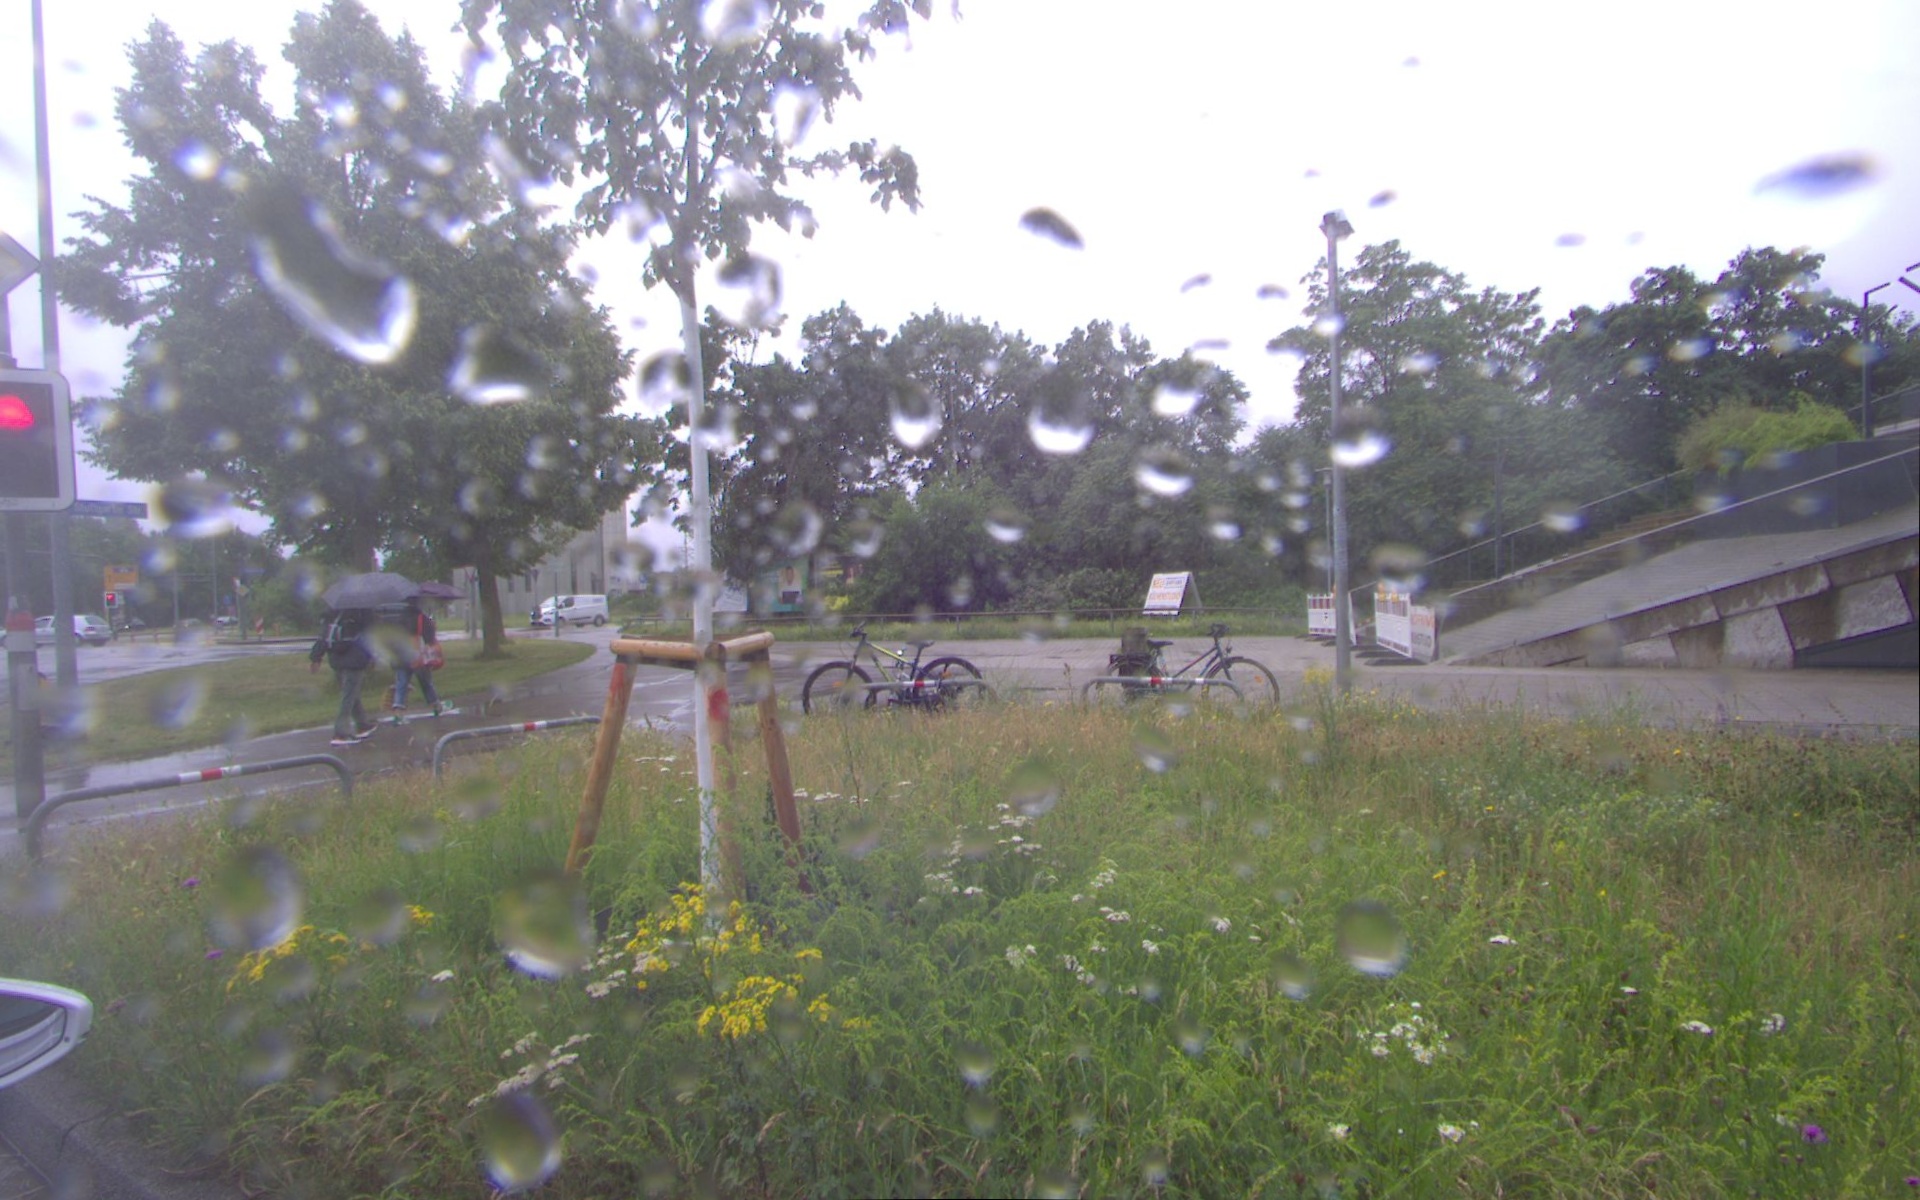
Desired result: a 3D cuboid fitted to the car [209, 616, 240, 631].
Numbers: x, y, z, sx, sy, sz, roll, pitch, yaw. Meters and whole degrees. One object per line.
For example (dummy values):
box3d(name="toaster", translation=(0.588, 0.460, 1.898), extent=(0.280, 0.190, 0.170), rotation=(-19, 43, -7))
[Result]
box3d(name="car", translation=(-89.204, 2.881, 121.521), extent=(1.770, 1.683, 3.995), rotation=(0, -2, -16))

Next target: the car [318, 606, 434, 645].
box3d(name="car", translation=(-29.793, 1.324, 51.179), extent=(1.977, 1.874, 4.741), rotation=(-2, -3, 40))

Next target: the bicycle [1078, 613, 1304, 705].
box3d(name="bicycle", translation=(2.103, 0.544, 9.228), extent=(1.972, 0.796, 0.454), rotation=(-1, -2, 16))

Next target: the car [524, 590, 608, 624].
box3d(name="car", translation=(-24.089, 0.468, 61.408), extent=(1.969, 1.874, 4.760), rotation=(-1, -2, 27))

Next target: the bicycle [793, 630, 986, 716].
box3d(name="bicycle", translation=(-0.675, 0.697, 9.683), extent=(1.823, 0.796, 0.380), rotation=(0, -2, -2))

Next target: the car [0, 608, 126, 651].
box3d(name="car", translation=(-40.897, 1.328, 45.152), extent=(4.685, 1.874, 2.000), rotation=(0, -2, -8))

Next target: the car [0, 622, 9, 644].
box3d(name="car", translation=(-75.642, 2.530, 76.992), extent=(1.770, 1.683, 4.404), rotation=(0, -2, -16))

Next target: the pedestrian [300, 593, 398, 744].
box3d(name="pedestrian", translation=(-6.499, 0.712, 10.656), extent=(0.730, 1.542, 0.620), rotation=(-1, -1, 31))

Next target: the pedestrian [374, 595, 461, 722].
box3d(name="pedestrian", translation=(-6.636, 0.699, 12.265), extent=(0.564, 1.480, 0.679), rotation=(-1, 1, 28))
